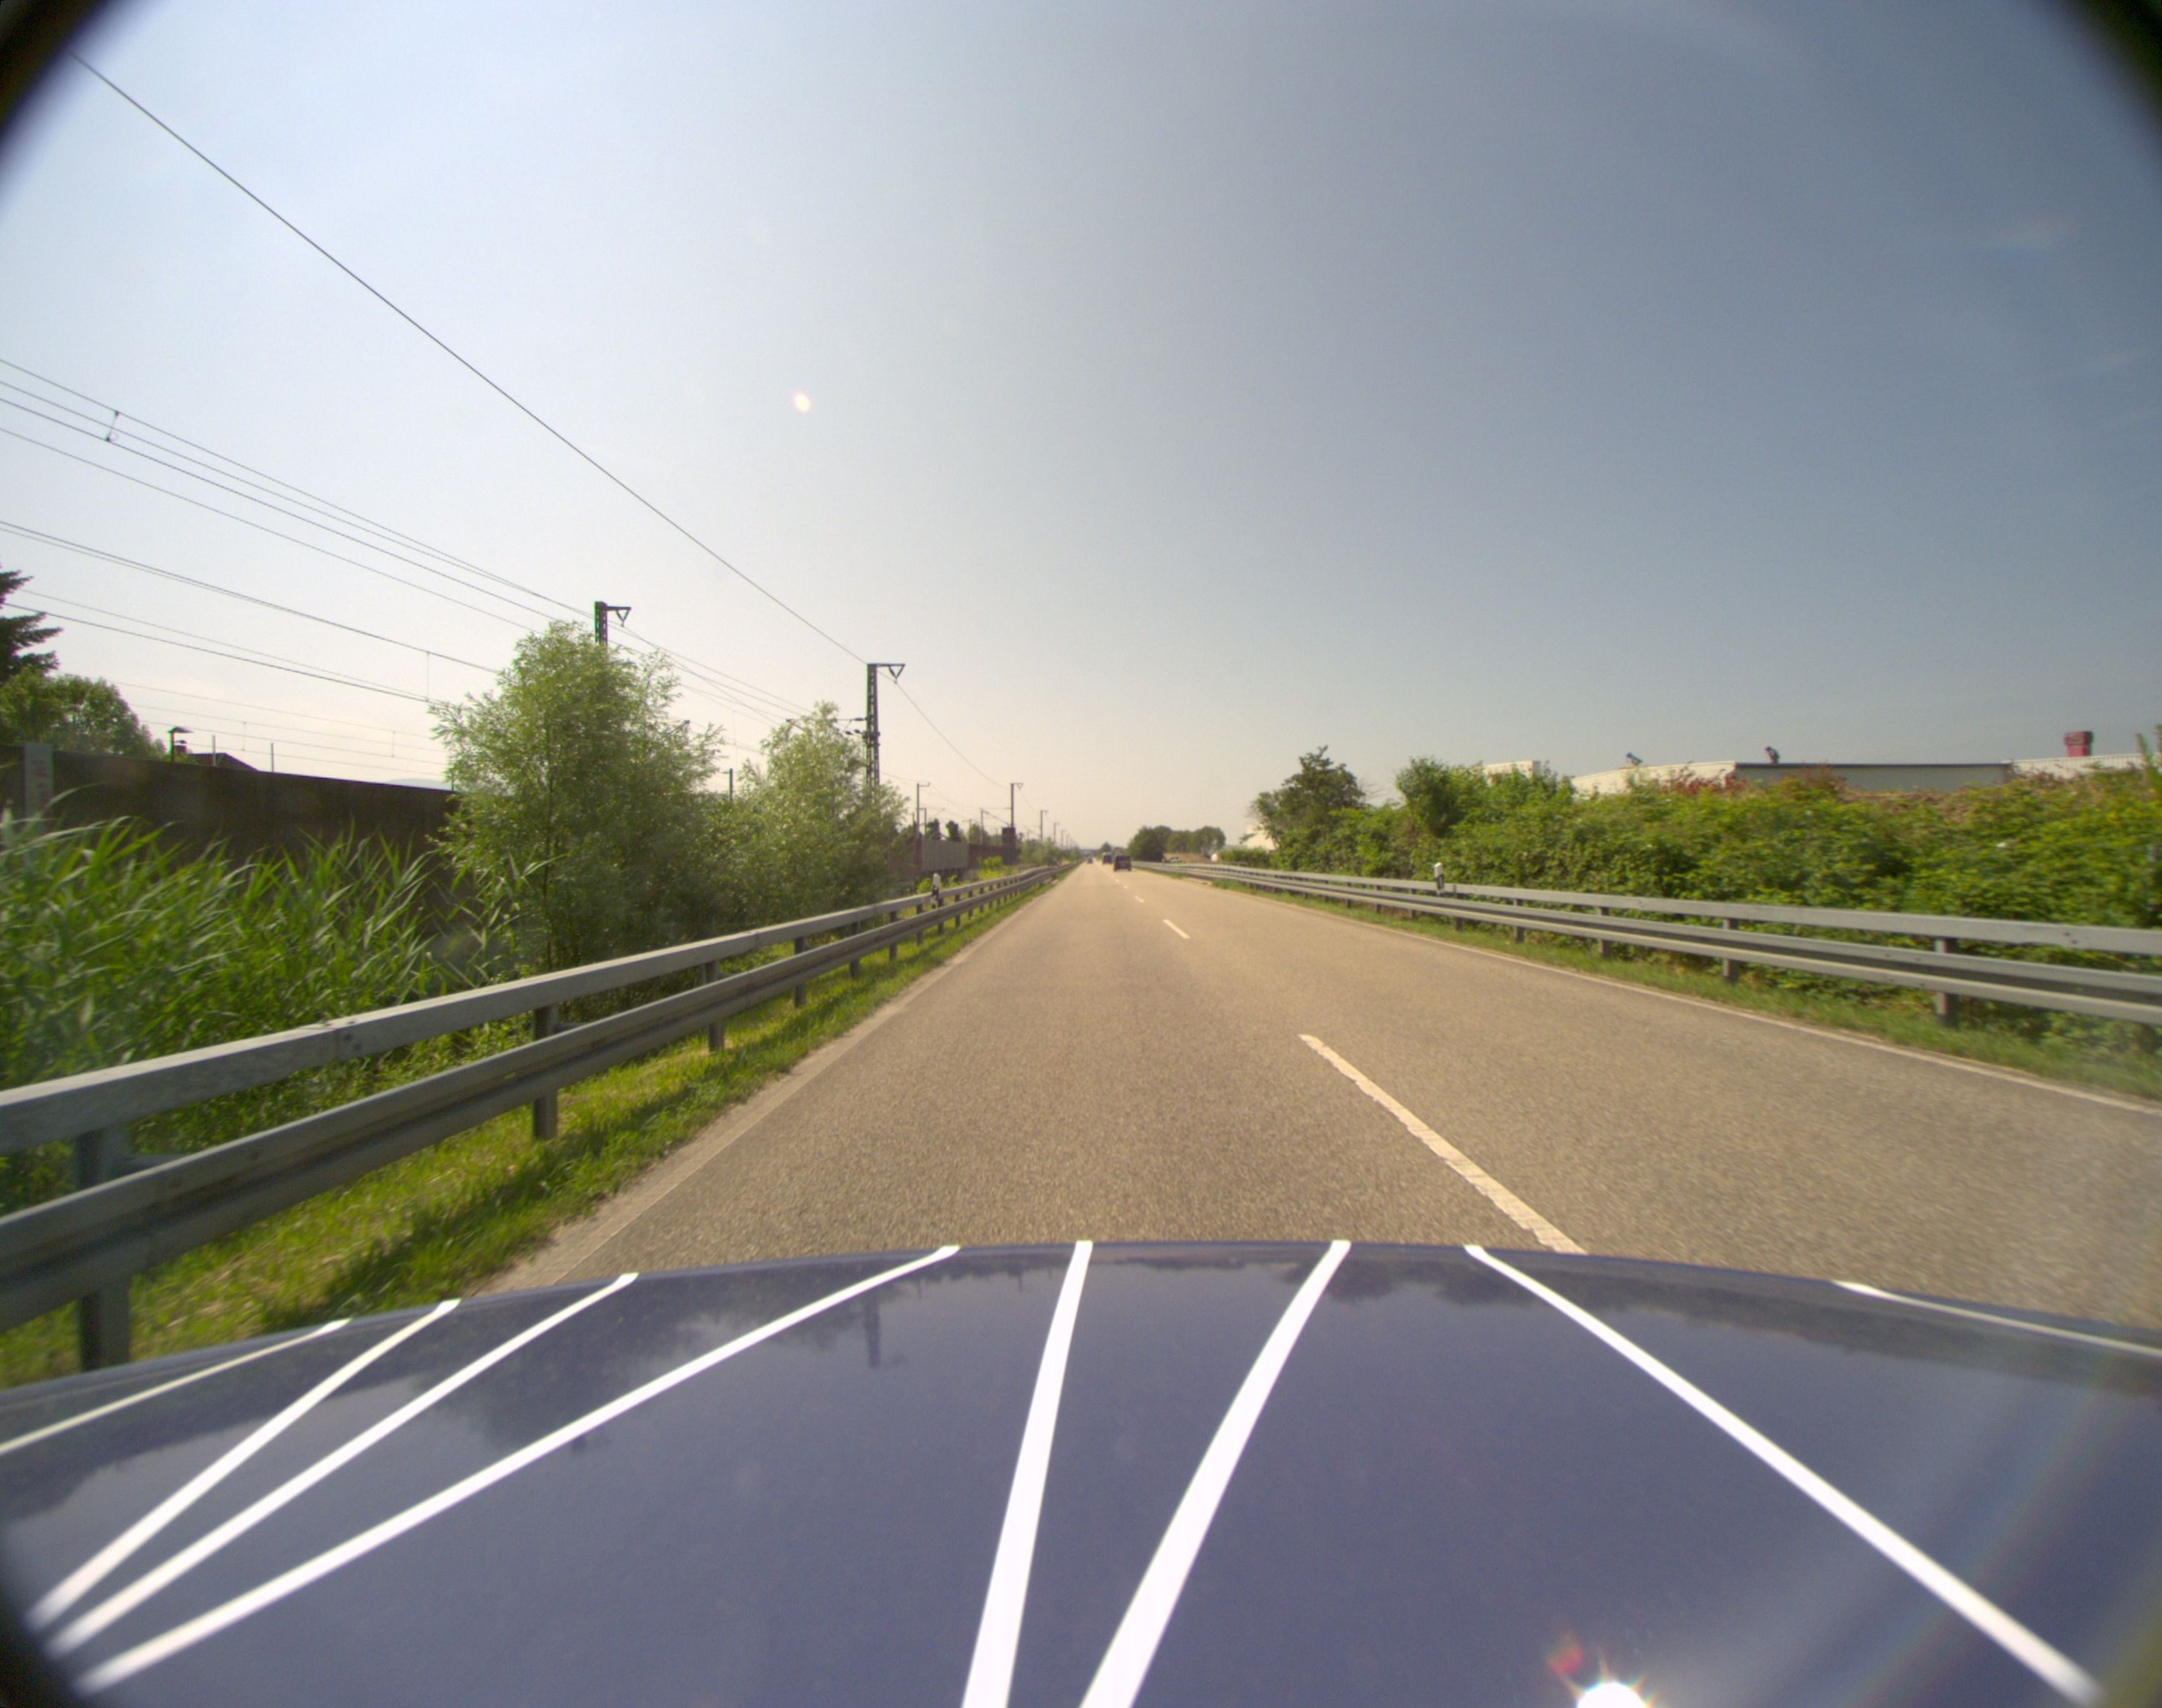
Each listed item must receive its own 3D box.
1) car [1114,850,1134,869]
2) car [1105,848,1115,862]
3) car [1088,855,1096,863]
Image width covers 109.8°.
[{"bbox_3d":[4.819,0.633,86.056,1.898,2.002,5.369,-2,0,0],"label":"car"},{"bbox_3d":[6.363,0.192,167.216,2.084,2.945,6.729,-2,0,1],"label":"car"},{"bbox_3d":[2.948,1.353,204.491,1.999,2.002,3.999,-2,0,-1],"label":"car"}]
